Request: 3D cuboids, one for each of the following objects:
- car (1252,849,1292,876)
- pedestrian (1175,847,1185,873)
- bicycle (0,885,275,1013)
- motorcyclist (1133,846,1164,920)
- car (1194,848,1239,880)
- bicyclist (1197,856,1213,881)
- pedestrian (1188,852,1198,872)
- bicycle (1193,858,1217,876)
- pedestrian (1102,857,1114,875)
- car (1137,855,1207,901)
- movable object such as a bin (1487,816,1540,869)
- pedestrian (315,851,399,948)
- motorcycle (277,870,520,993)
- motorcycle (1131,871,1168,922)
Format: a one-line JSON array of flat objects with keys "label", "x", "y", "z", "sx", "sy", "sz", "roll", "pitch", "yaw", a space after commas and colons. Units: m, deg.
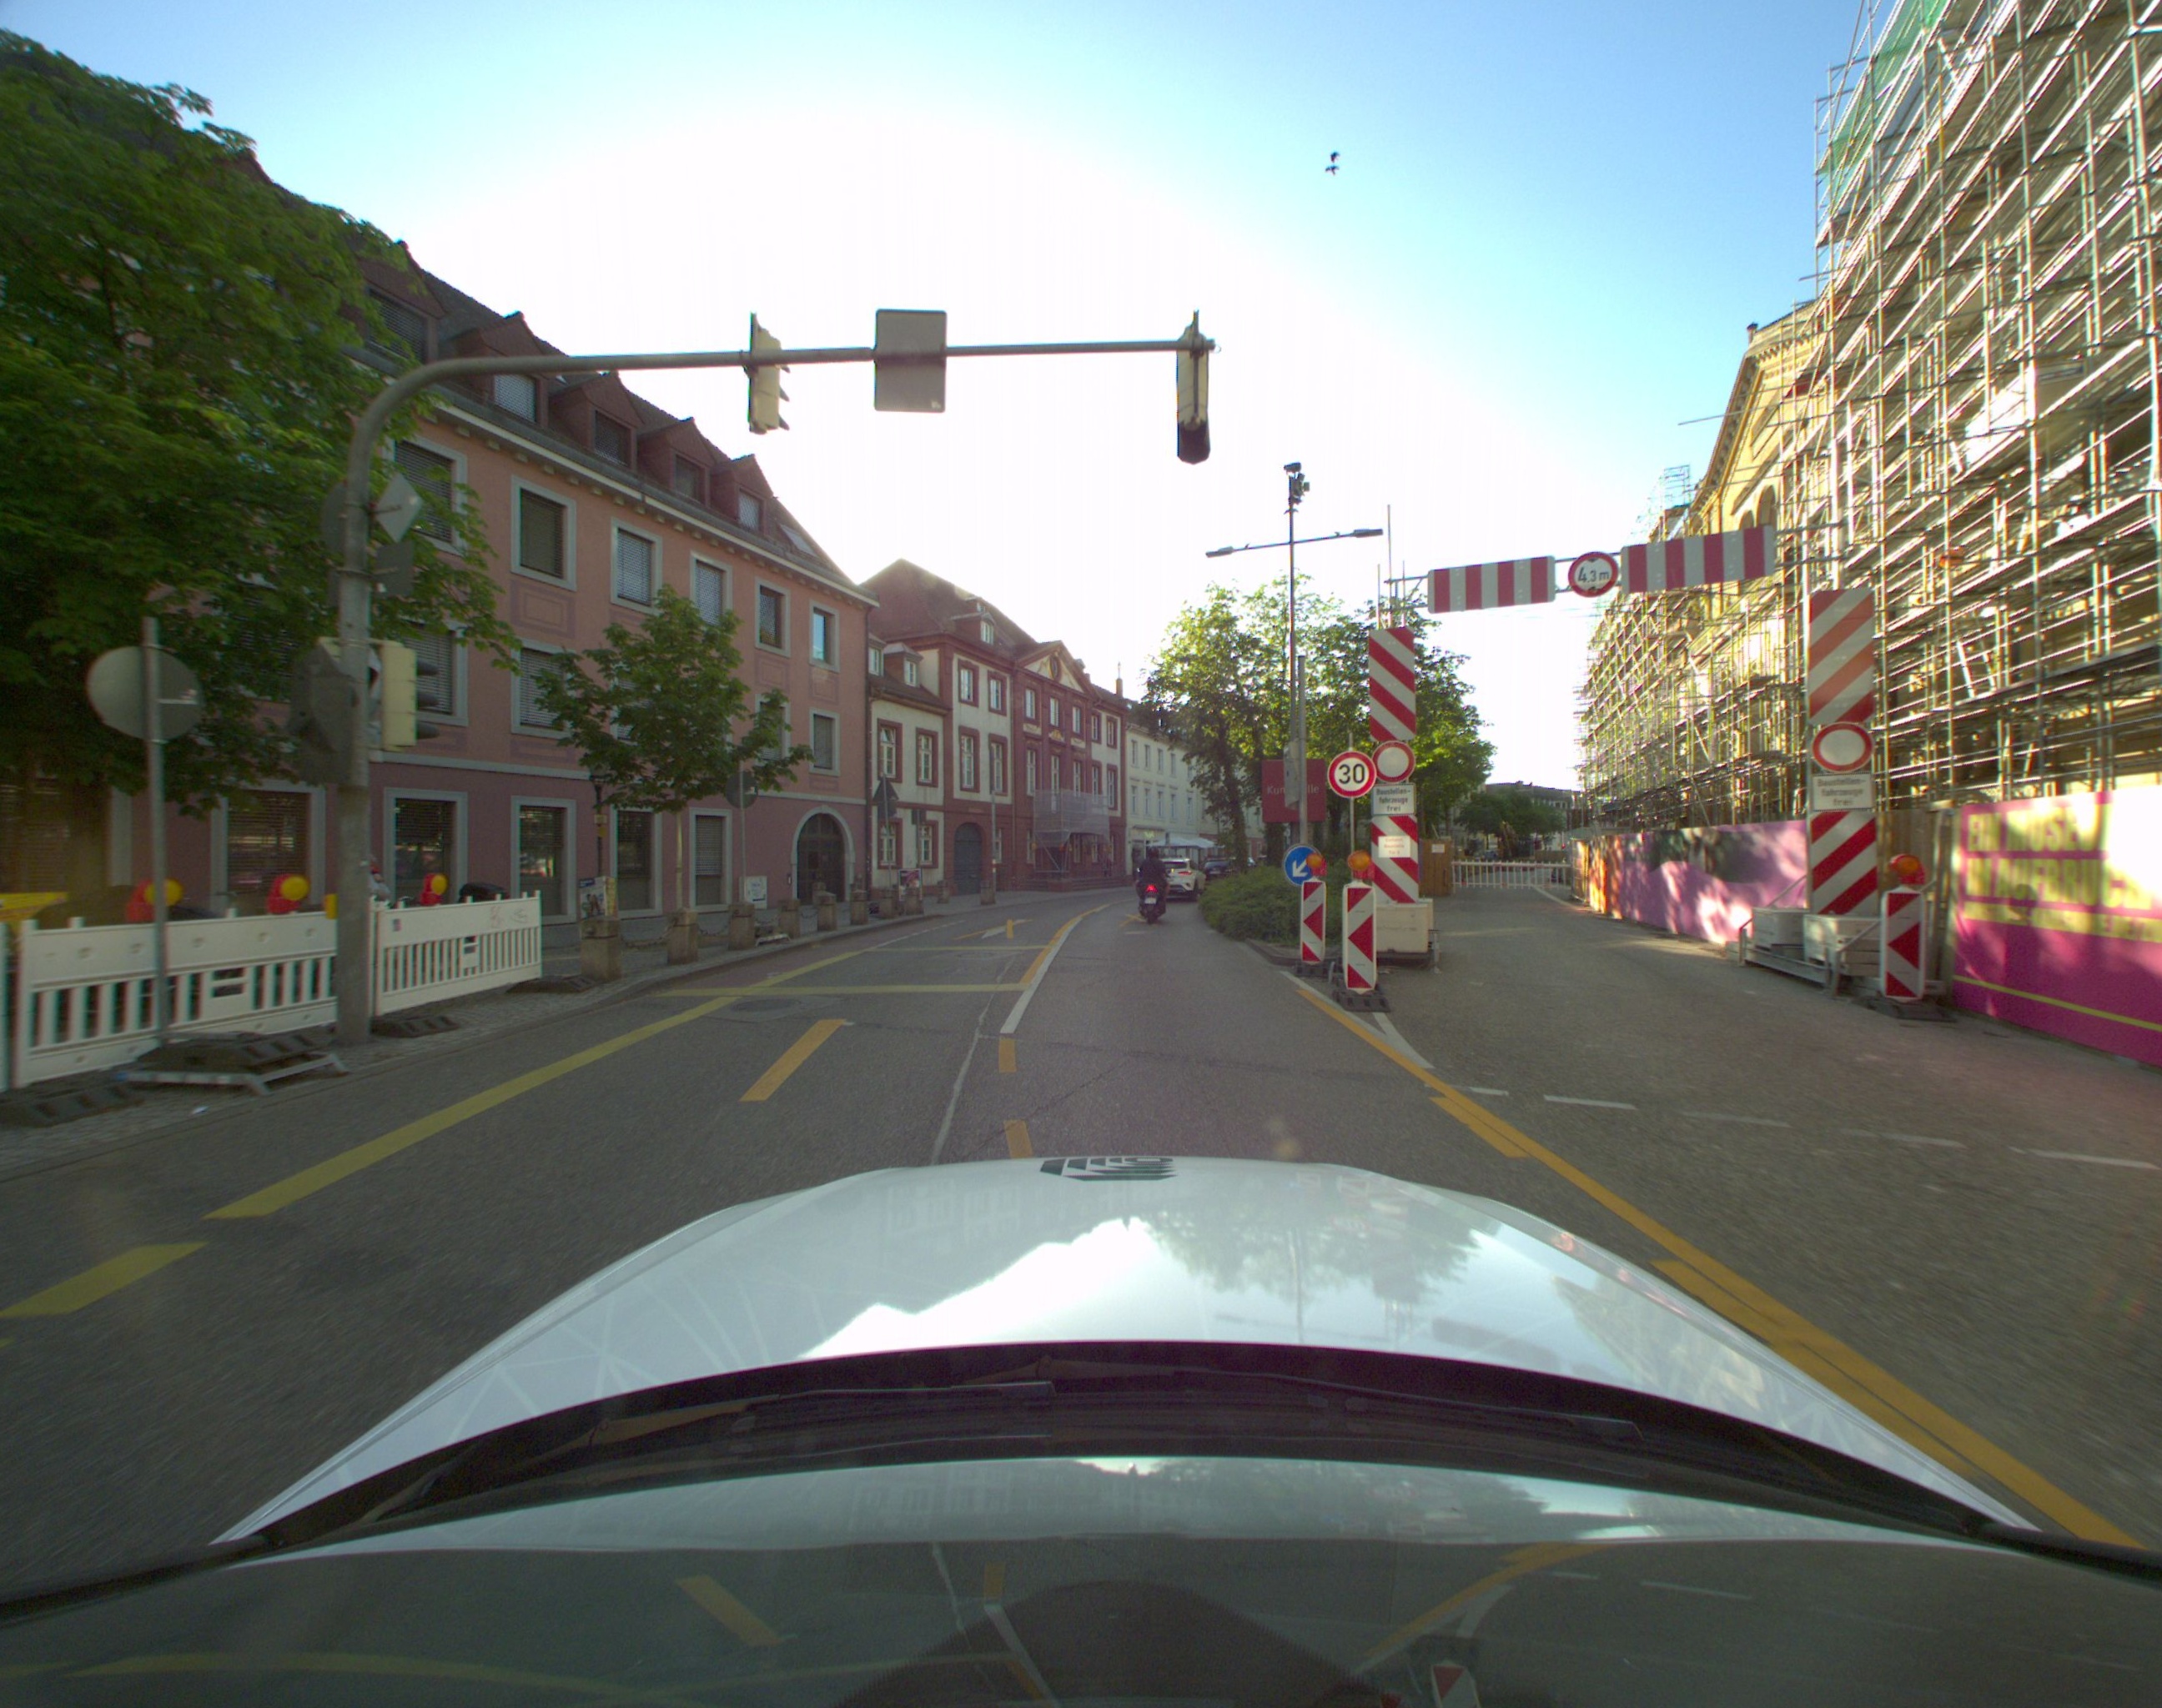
[{"label": "car", "x": 12.801, "y": 0.573, "z": 54.436, "sx": 1.823, "sy": 1.713, "sz": 4.081, "roll": 0, "pitch": 0, "yaw": 25}, {"label": "pedestrian", "x": 6.848, "y": 0.425, "z": 56.437, "sx": 0.433, "sy": 1.775, "sz": 0.601, "roll": -2, "pitch": -1, "yaw": 39}, {"label": "bicycle", "x": -10.316, "y": 0.994, "z": 8.905, "sx": 2.007, "sy": 1.206, "sz": 0.678, "roll": -2, "pitch": -2, "yaw": -23}, {"label": "motorcyclist", "x": 1.533, "y": 0.649, "z": 18.421, "sx": 0.654, "sy": 1.650, "sz": 0.651, "roll": -1, "pitch": 0, "yaw": 4}, {"label": "car", "x": 6.663, "y": 0.472, "z": 39.752, "sx": 1.827, "sy": 1.463, "sz": 4.073, "roll": 0, "pitch": 0, "yaw": 14}, {"label": "bicyclist", "x": 7.813, "y": 0.898, "z": 51.327, "sx": 0.737, "sy": 1.583, "sz": 0.800, "roll": 0, "pitch": 0, "yaw": 29}, {"label": "pedestrian", "x": 7.814, "y": 0.567, "z": 56.829, "sx": 0.518, "sy": 1.391, "sz": 0.491, "roll": -1, "pitch": -1, "yaw": 23}, {"label": "bicycle", "x": 7.796, "y": 0.818, "z": 51.282, "sx": 0.764, "sy": 1.063, "sz": 2.091, "roll": -1, "pitch": -1, "yaw": 30}, {"label": "pedestrian", "x": 1.597, "y": 0.718, "z": 47.734, "sx": 0.532, "sy": 1.053, "sz": 0.554, "roll": 0, "pitch": 0, "yaw": 22}, {"label": "car", "x": 3.279, "y": 0.794, "z": 28.627, "sx": 1.837, "sy": 1.480, "sz": 4.073, "roll": 0, "pitch": 0, "yaw": 15}, {"label": "movable object such as a bin", "x": 39.786, "y": -0.967, "z": 74.749, "sx": 3.275, "sy": 4.539, "sz": 7.955, "roll": -2, "pitch": -1, "yaw": 34}, {"label": "pedestrian", "x": -13.108, "y": 0.792, "z": 14.758, "sx": 0.784, "sy": 1.689, "sz": 0.873, "roll": 0, "pitch": 0, "yaw": 23}, {"label": "motorcycle", "x": -8.423, "y": 0.889, "z": 10.240, "sx": 0.807, "sy": 1.317, "sz": 2.344, "roll": -1, "pitch": 0, "yaw": 10}, {"label": "motorcycle", "x": 1.537, "y": 0.932, "z": 18.322, "sx": 0.793, "sy": 1.066, "sz": 1.727, "roll": 0, "pitch": 0, "yaw": 4}]
